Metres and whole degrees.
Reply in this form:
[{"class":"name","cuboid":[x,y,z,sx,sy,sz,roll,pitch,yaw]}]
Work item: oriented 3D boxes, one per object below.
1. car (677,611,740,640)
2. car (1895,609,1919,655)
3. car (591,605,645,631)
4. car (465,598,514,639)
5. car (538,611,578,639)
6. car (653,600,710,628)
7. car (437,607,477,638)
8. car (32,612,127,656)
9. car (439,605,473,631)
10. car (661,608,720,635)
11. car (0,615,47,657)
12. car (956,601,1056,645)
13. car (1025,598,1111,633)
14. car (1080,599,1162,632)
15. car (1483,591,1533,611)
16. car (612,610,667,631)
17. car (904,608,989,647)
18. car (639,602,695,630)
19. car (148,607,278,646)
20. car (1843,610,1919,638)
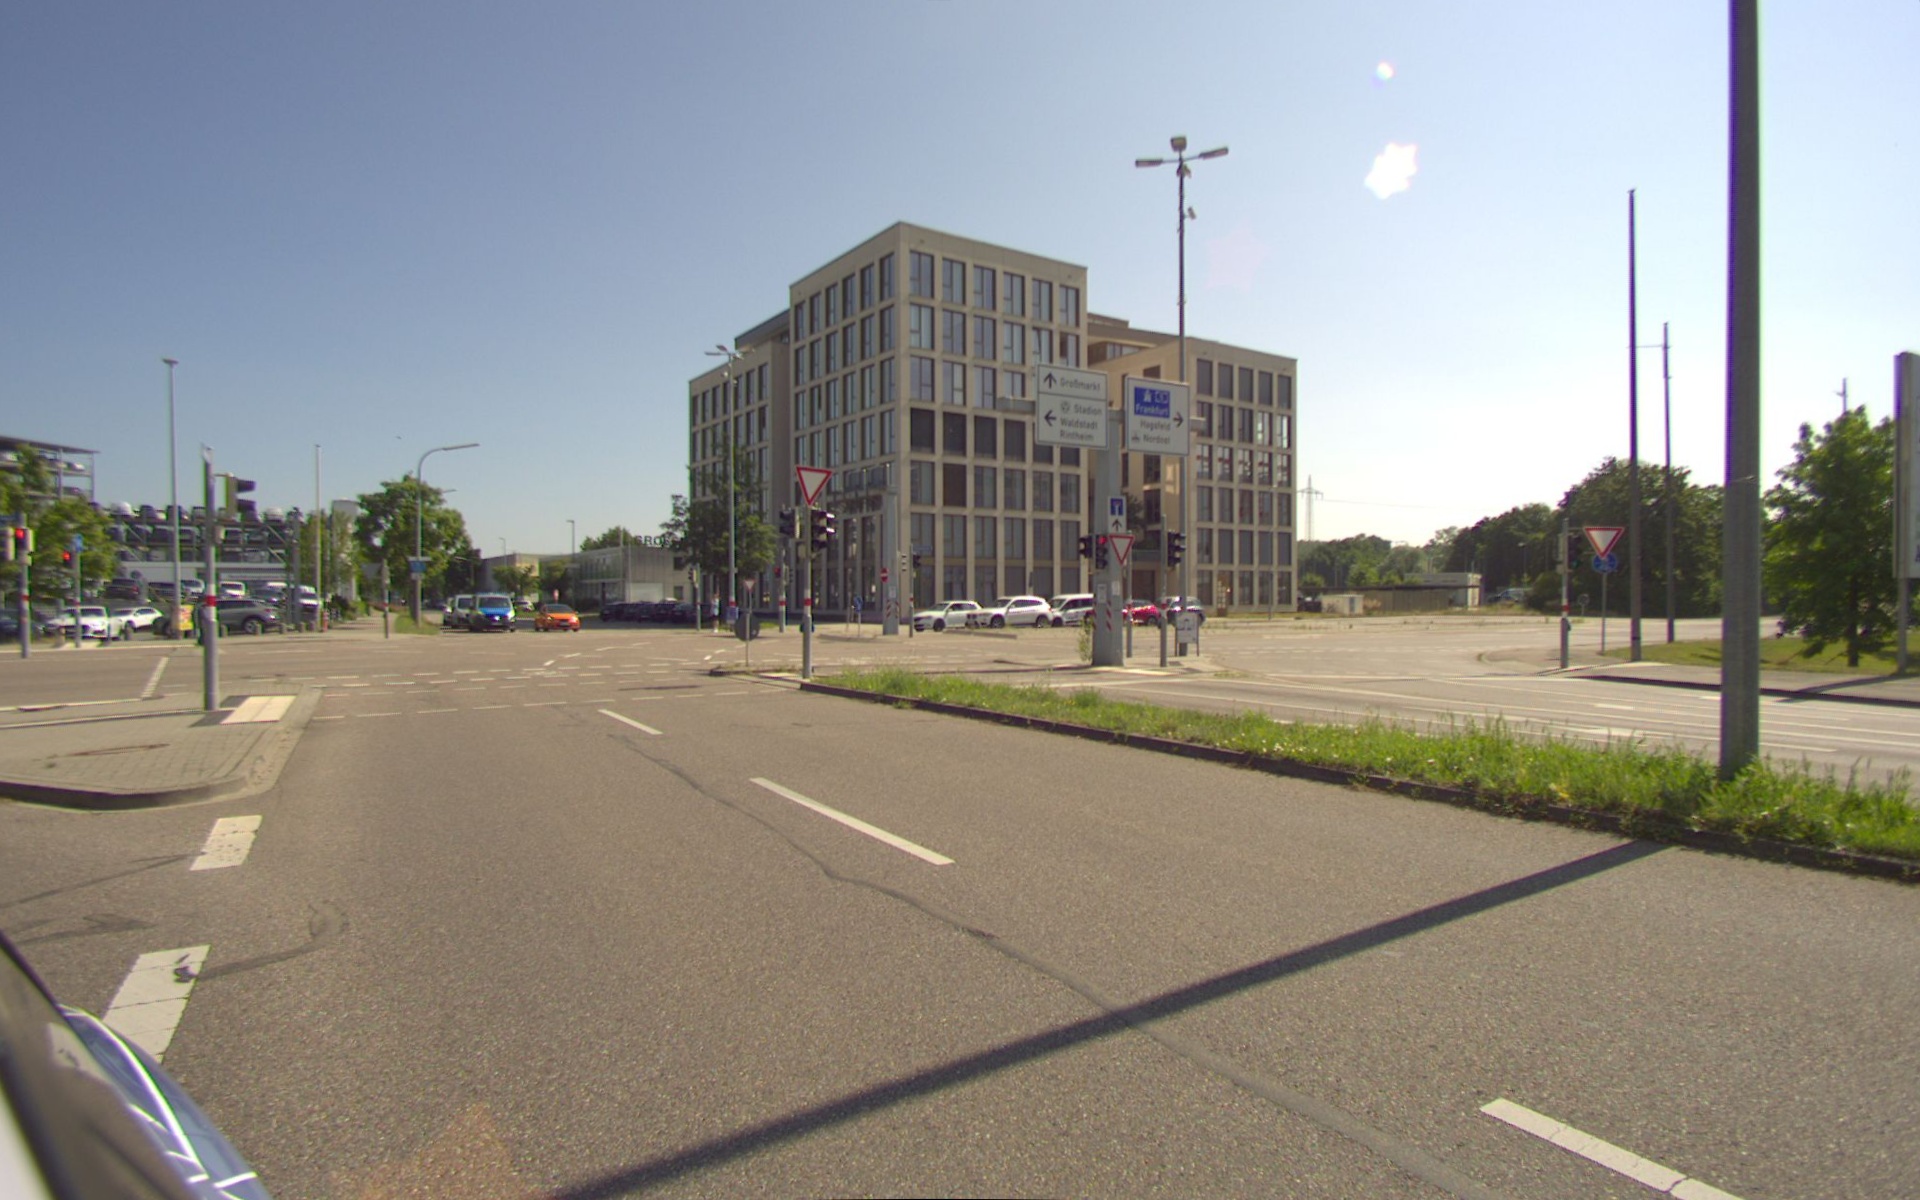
[{"class":"car","cuboid":[-16.857,1.668,67.813,3.931,1.751,2.006,-2,1,-19]},{"class":"car","cuboid":[38.659,1.246,38.602,1.966,1.747,4.012,-1,1,-32]},{"class":"car","cuboid":[-27.389,1.426,81.227,3.933,2.029,2.005,0,-1,-13]},{"class":"car","cuboid":[-23.702,0.930,50.967,2.149,1.923,4.746,0,-1,-25]},{"class":"car","cuboid":[-20.833,1.282,52.407,1.710,1.374,3.878,0,-1,-25]},{"class":"car","cuboid":[-20.192,1.009,73.544,3.933,2.029,2.005,0,-1,-13]},{"class":"car","cuboid":[-27.842,1.205,56.008,1.639,1.568,3.866,-1,1,-31]},{"class":"car","cuboid":[-33.150,1.246,38.211,1.856,1.472,4.013,-1,1,-28]},{"class":"car","cuboid":[-31.442,1.083,63.126,1.882,1.504,3.878,-1,1,-27]},{"class":"car","cuboid":[-18.718,1.476,70.437,3.933,1.841,2.005,0,-1,-13]},{"class":"car","cuboid":[-35.067,1.288,36.732,1.965,1.472,4.013,-1,-1,-28]},{"class":"car","cuboid":[2.130,1.014,46.186,4.242,1.851,2.031,-1,1,-38]},{"class":"car","cuboid":[5.605,0.761,52.341,4.161,1.724,1.909,0,-1,-36]},{"class":"car","cuboid":[7.982,0.758,49.976,4.052,1.539,1.534,0,-1,-36]},{"class":"car","cuboid":[63.888,0.131,117.903,5.032,2.352,1.978,0,0,32]},{"class":"car","cuboid":[-25.094,1.603,79.327,3.933,1.627,2.005,0,-1,-13]},{"class":"car","cuboid":[-0.634,1.284,48.170,3.706,1.725,1.838,-1,1,-39]},{"class":"car","cuboid":[-22.021,1.201,76.242,3.934,2.029,2.005,0,-1,-12]},{"class":"car","cuboid":[-32.568,1.117,44.295,4.406,1.599,1.985,0,-1,-32]},{"class":"car","cuboid":[56.715,1.455,61.561,1.987,1.634,4.013,0,-1,-23]}]
